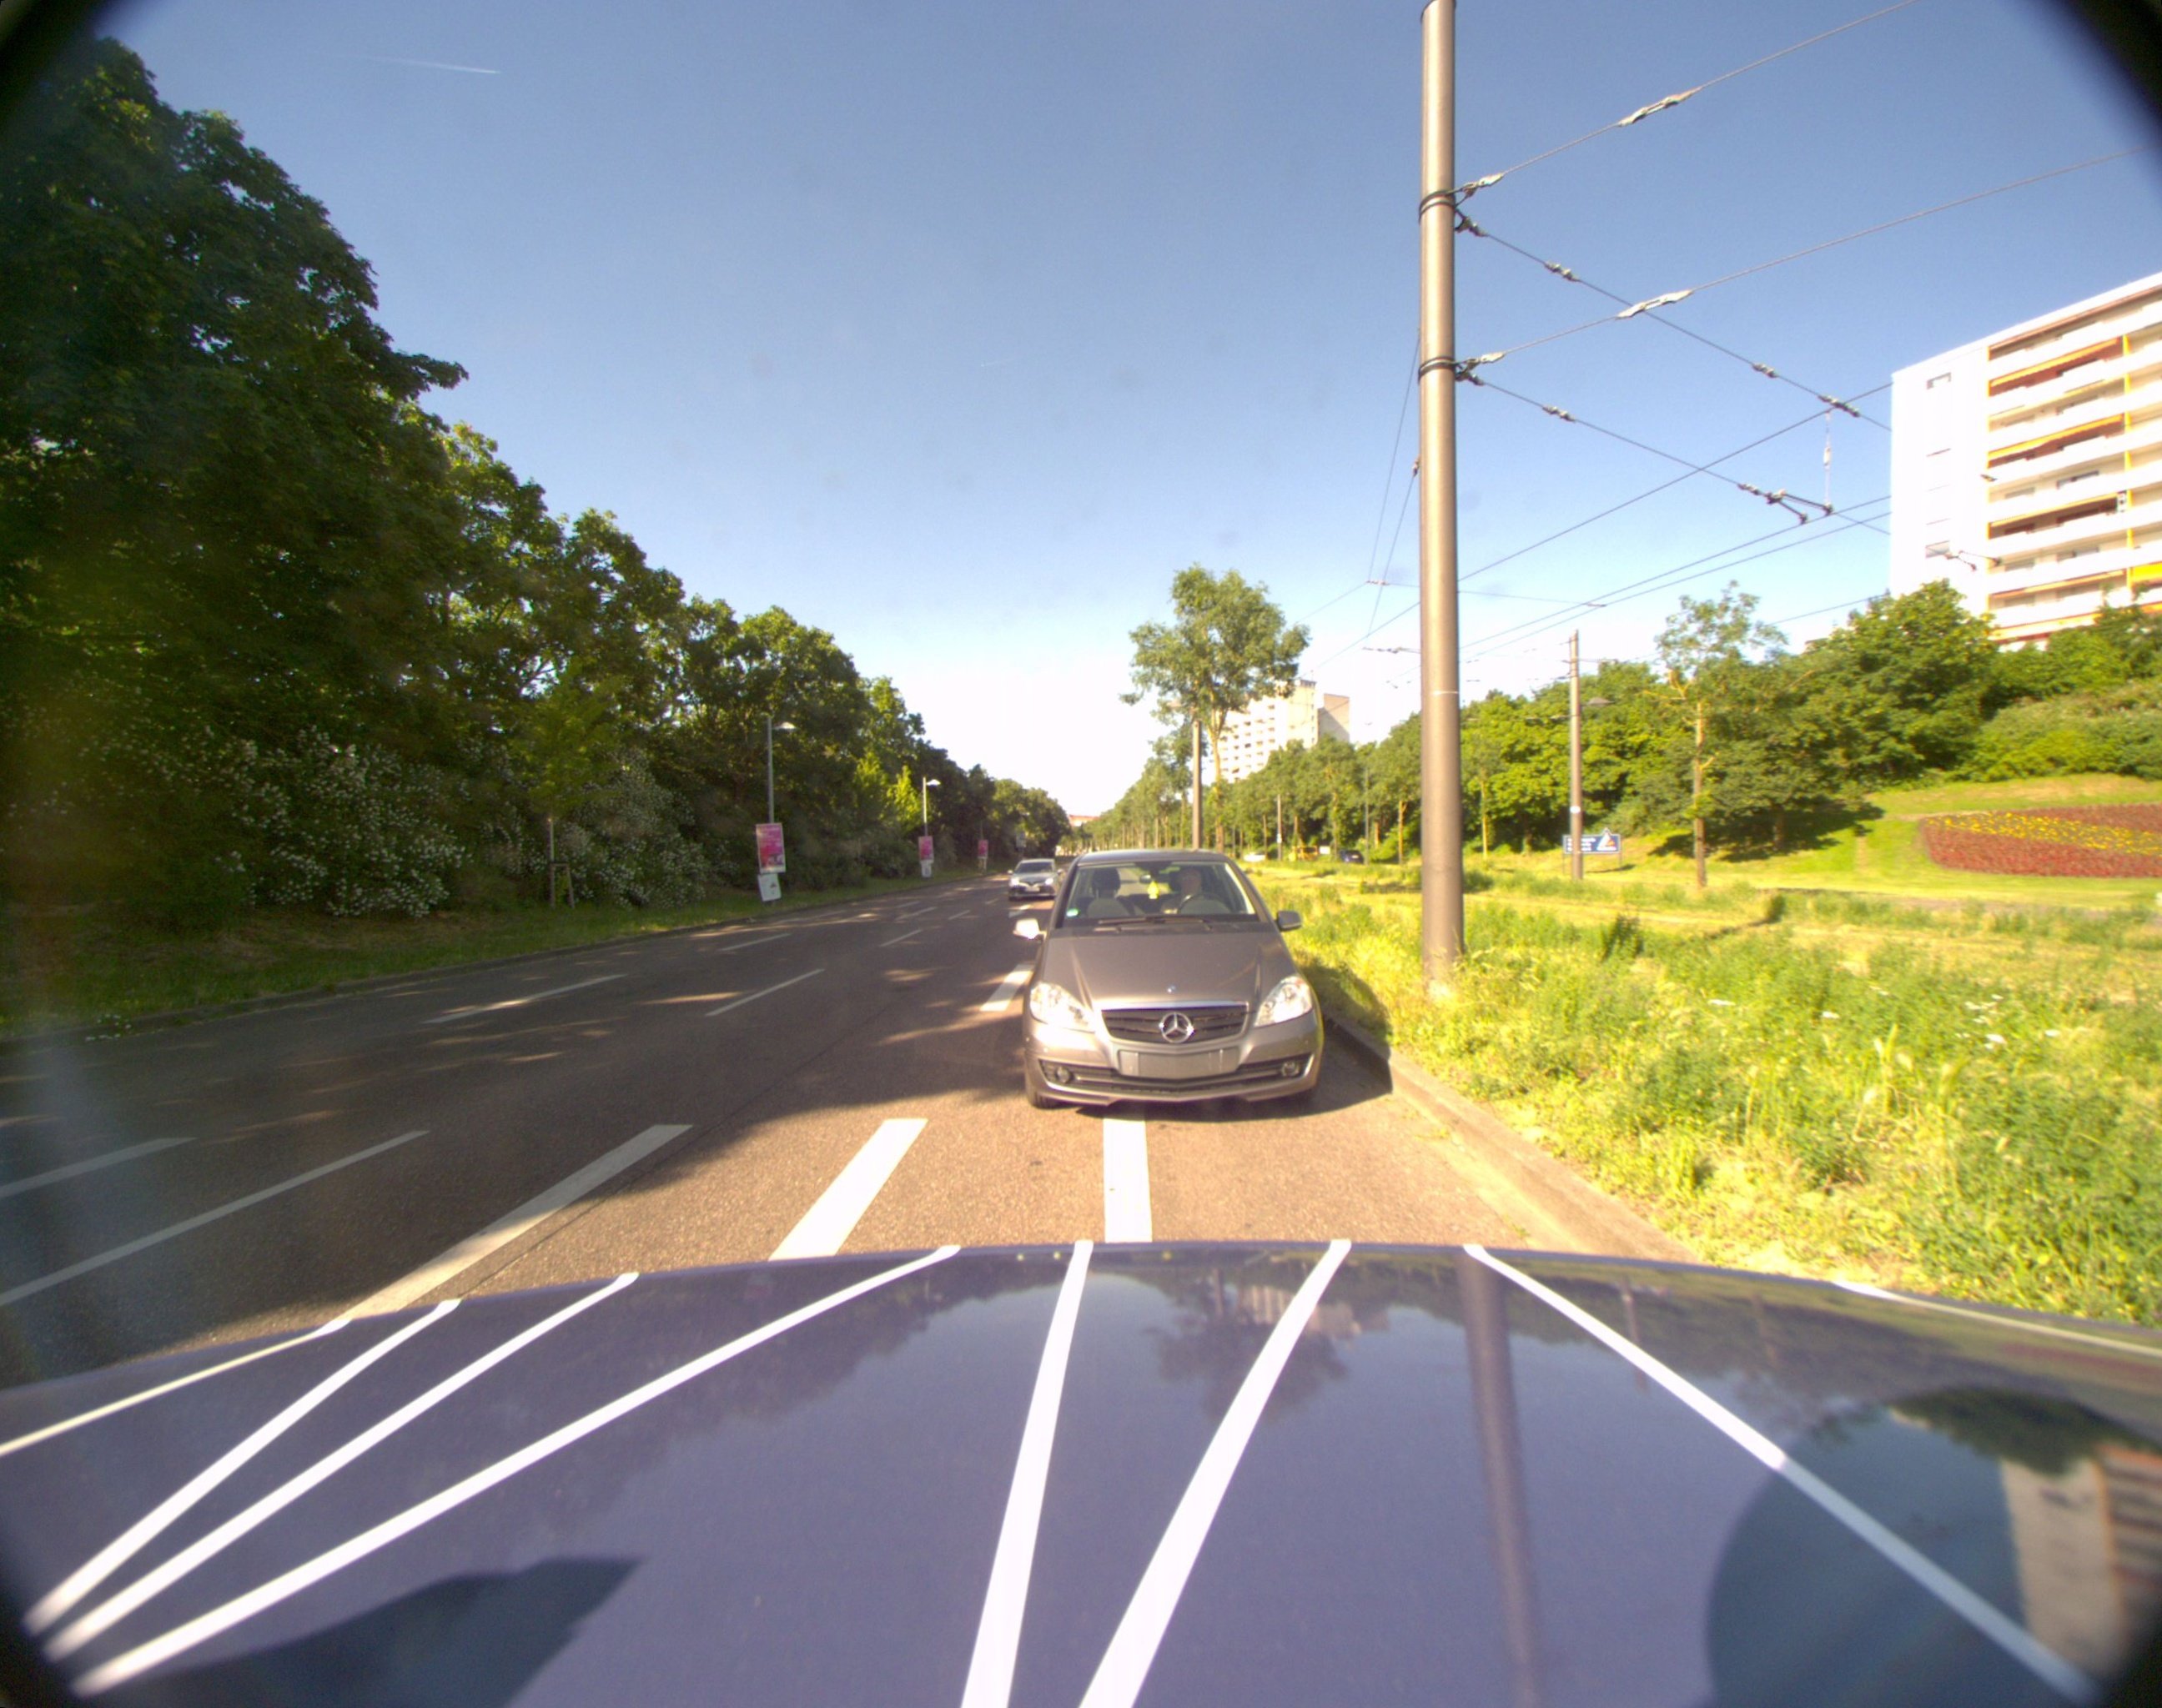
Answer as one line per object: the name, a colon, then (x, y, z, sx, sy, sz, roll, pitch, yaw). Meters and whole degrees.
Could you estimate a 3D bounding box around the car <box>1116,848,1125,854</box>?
car: (10.946, -0.793, 210.785, 1.883, 1.755, 3.997, -1, 0, -9)

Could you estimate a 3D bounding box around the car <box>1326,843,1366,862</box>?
car: (22.419, -0.178, 64.330, 1.998, 1.565, 4.106, 0, 1, 1)

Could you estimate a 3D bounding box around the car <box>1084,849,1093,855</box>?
car: (2.552, -0.524, 257.287, 2.000, 2.002, 3.996, -1, 0, -12)

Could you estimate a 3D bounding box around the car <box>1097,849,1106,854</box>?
car: (6.781, -0.738, 247.787, 1.911, 1.652, 3.995, -1, 0, -13)

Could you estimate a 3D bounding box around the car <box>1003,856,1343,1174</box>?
car: (0.508, 0.854, 5.919, 1.759, 1.612, 3.880, -1, 0, 1)

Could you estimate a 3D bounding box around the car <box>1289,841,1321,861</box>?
car: (23.223, -0.336, 78.918, 1.998, 1.955, 4.907, -1, 0, 1)

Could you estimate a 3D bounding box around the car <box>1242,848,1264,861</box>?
car: (19.387, 0.038, 85.746, 1.693, 1.399, 4.021, -1, 0, 1)

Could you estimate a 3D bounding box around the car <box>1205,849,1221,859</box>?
car: (19.312, 0.048, 111.434, 1.799, 1.408, 4.311, -1, 0, 3)

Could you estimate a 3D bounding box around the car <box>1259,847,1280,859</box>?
car: (23.723, -0.142, 95.801, 1.780, 1.368, 4.001, -1, 0, 3)

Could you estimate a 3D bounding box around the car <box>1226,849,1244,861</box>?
car: (22.601, 0.115, 111.564, 1.792, 1.499, 4.240, -2, 1, 2)

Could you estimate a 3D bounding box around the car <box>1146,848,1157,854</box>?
car: (17.258, -0.810, 186.736, 1.803, 1.455, 3.997, -1, 0, -8)

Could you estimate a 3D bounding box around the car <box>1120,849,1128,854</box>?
car: (12.421, -0.724, 217.358, 1.803, 1.455, 3.998, 0, 1, -4)

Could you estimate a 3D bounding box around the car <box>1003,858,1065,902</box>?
car: (-1.665, 0.912, 28.485, 1.875, 1.428, 4.594, -1, 0, 2)
